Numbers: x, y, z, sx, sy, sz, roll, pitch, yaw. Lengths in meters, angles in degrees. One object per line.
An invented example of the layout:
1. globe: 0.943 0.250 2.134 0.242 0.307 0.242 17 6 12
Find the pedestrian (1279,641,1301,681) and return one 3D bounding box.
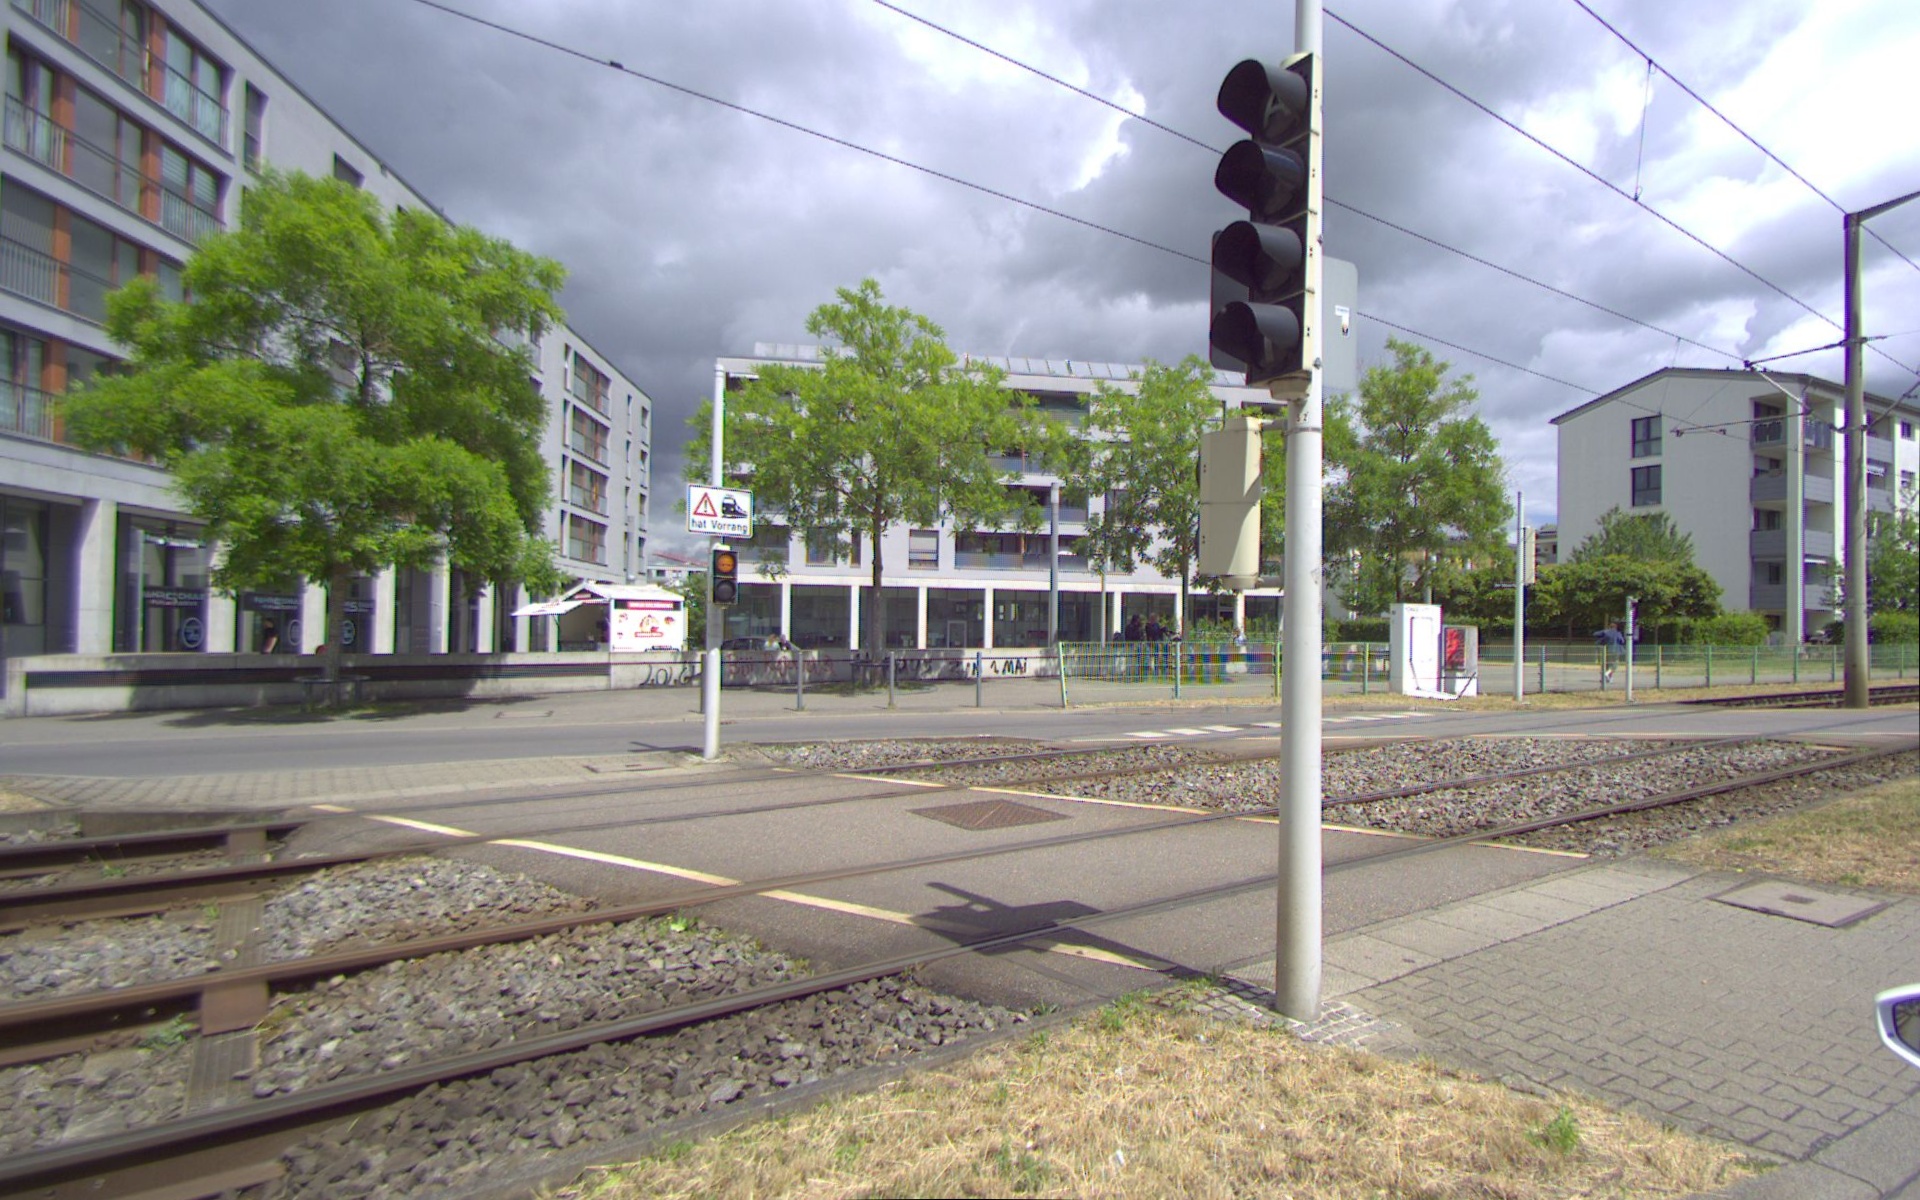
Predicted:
1. pedestrian: 10.547 1.932 32.109 0.449 1.263 0.545 -1 -2 -9

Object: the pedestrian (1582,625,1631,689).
1. pedestrian: 17.572 1.530 27.289 0.858 1.683 0.747 0 -2 -26

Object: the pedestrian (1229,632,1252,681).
1. pedestrian: 9.219 1.857 33.023 0.519 1.567 0.545 -1 -2 -9

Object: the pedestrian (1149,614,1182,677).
1. pedestrian: 5.323 1.173 26.072 0.550 1.594 0.621 0 -2 -25

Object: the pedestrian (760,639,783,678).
1. pedestrian: -5.372 1.664 28.634 0.566 1.110 0.500 0 -1 -5

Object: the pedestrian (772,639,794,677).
1. pedestrian: -5.192 1.691 29.461 0.566 1.110 0.500 0 -1 -5

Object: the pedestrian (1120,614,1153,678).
1. pedestrian: 4.518 1.170 25.741 0.549 1.594 0.622 0 -2 -19
